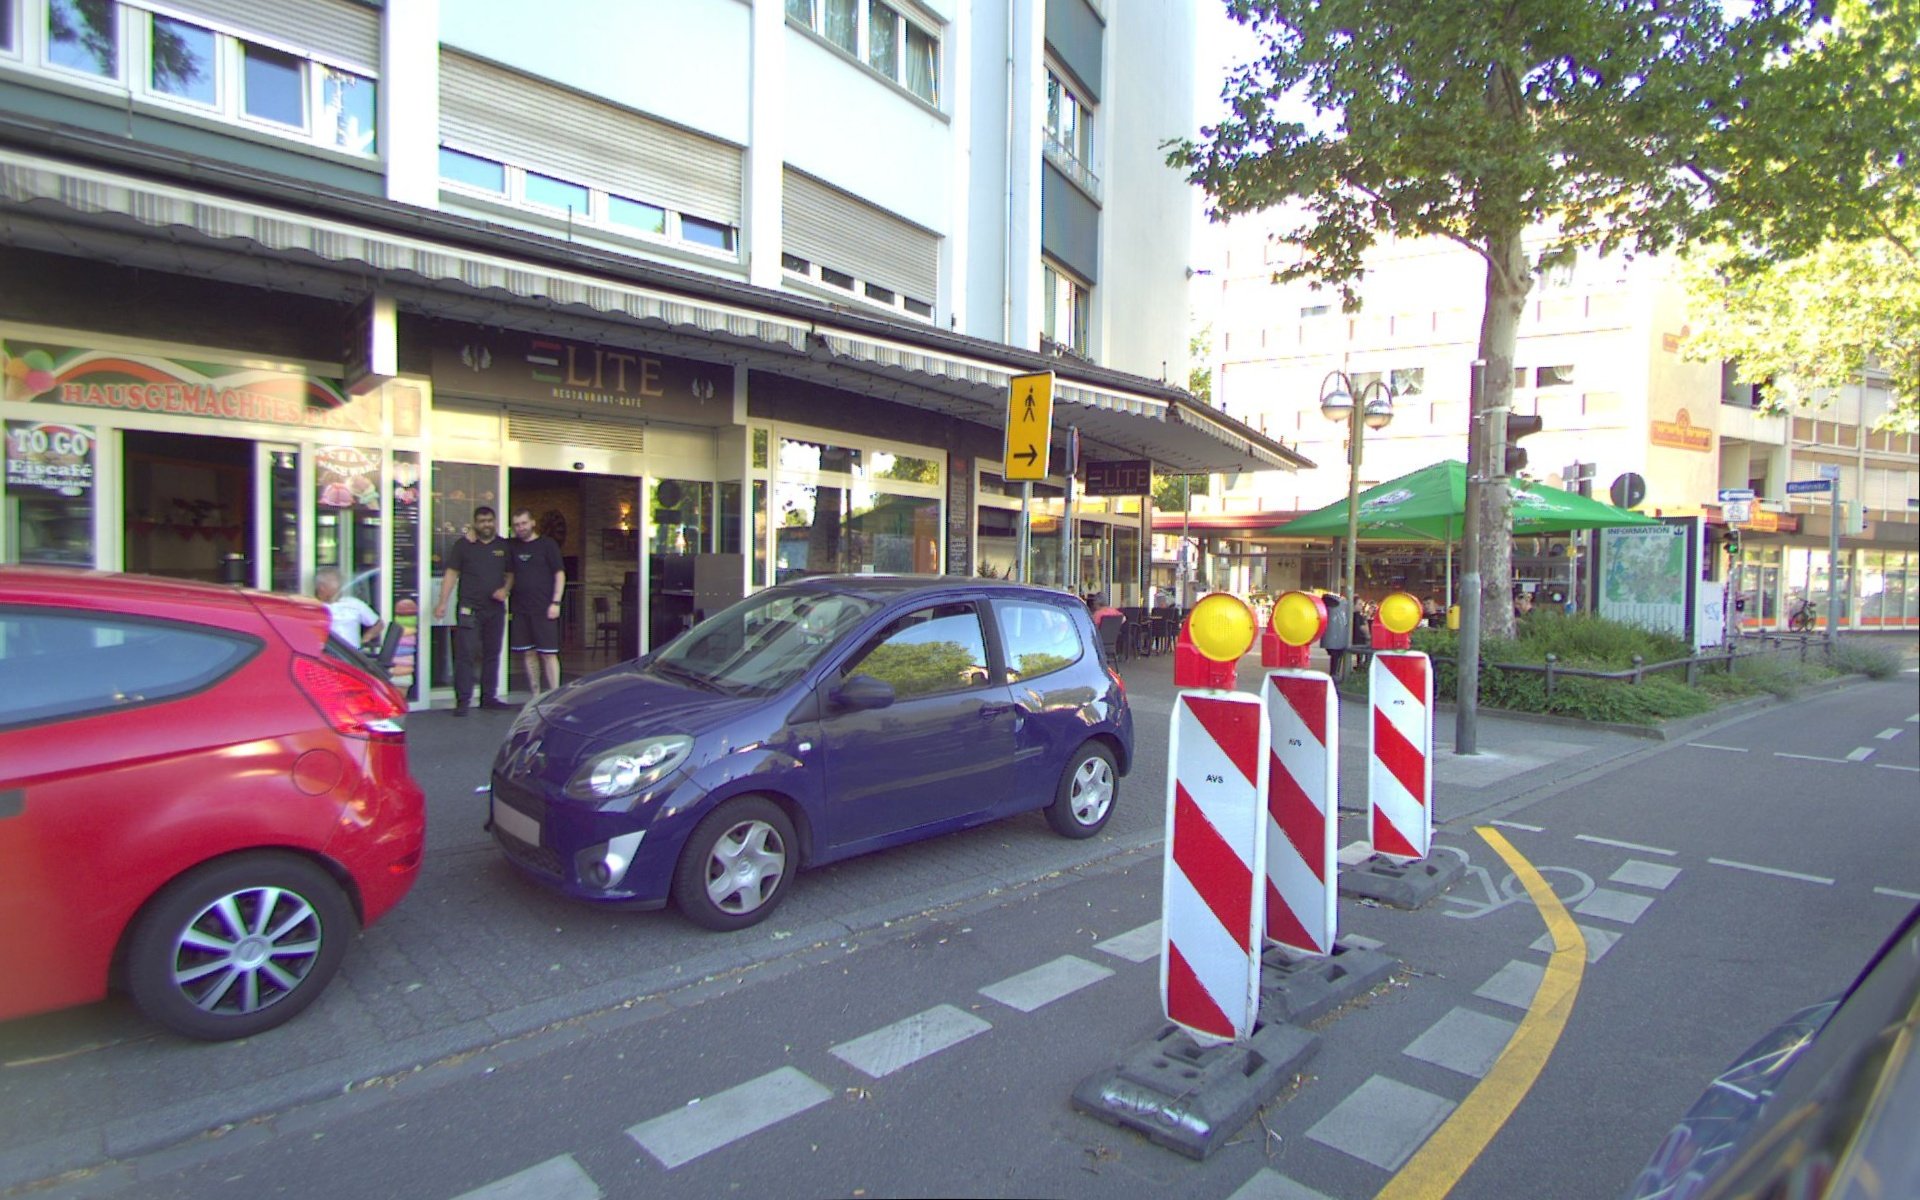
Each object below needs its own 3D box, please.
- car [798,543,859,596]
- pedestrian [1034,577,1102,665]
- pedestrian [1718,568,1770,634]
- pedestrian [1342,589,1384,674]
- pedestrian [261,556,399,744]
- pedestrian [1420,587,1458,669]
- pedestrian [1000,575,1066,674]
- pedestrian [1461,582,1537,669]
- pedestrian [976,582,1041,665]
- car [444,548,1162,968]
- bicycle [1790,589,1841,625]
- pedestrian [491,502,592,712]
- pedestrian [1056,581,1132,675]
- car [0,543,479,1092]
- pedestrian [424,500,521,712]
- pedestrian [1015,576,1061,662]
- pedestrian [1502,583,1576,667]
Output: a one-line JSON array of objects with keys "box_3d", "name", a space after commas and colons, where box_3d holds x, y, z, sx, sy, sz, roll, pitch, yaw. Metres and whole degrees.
[{"box_3d": [-4.649, -1.066, 36.166, 1.960, 1.771, 4.004, 1, 1, -5], "name": "car"}, {"box_3d": [1.591, 0.302, 14.918, 0.664, 1.233, 0.706, 3, 1, 43], "name": "pedestrian"}, {"box_3d": [21.460, 0.012, 27.708, 0.883, 1.779, 0.751, 0, 1, -24], "name": "pedestrian"}, {"box_3d": [5.949, 0.457, 14.945, 0.460, 1.235, 0.432, 1, 0, 5], "name": "pedestrian"}, {"box_3d": [-4.819, 0.324, 7.711, 0.765, 1.247, 1.207, -1, 5, -38], "name": "pedestrian"}, {"box_3d": [7.459, 0.424, 15.772, 0.427, 1.234, 0.465, 3, 2, 20], "name": "pedestrian"}, {"box_3d": [0.996, 0.318, 13.753, 0.644, 1.267, 0.711, 3, 1, 25], "name": "pedestrian"}, {"box_3d": [8.421, 0.378, 15.823, 0.752, 1.301, 0.721, 0, 1, -27], "name": "pedestrian"}, {"box_3d": [0.707, 0.324, 14.657, 0.710, 1.144, 0.645, 3, 1, 25], "name": "pedestrian"}, {"box_3d": [-0.638, 0.536, 5.498, 3.545, 1.484, 1.621, 0, 4, -44], "name": "car"}, {"box_3d": [28.127, 0.226, 33.258, 1.933, 1.157, 0.530, 0, 1, -26], "name": "bicycle"}, {"box_3d": [-3.724, 0.046, 8.994, 0.635, 1.780, 0.612, 1, 3, -39], "name": "pedestrian"}, {"box_3d": [1.860, 0.371, 14.028, 0.838, 1.213, 0.644, 3, 1, 27], "name": "pedestrian"}, {"box_3d": [-3.638, 0.568, 2.852, 1.667, 1.446, 3.786, 5, 4, 44], "name": "car"}, {"box_3d": [-4.230, 0.036, 8.779, 0.587, 1.756, 0.589, 1, 3, -40], "name": "pedestrian"}, {"box_3d": [1.169, 0.278, 15.279, 0.541, 1.259, 0.521, 2, 1, -7], "name": "pedestrian"}, {"box_3d": [9.272, 0.387, 16.225, 0.753, 1.301, 0.720, 0, 1, -28], "name": "pedestrian"}]
